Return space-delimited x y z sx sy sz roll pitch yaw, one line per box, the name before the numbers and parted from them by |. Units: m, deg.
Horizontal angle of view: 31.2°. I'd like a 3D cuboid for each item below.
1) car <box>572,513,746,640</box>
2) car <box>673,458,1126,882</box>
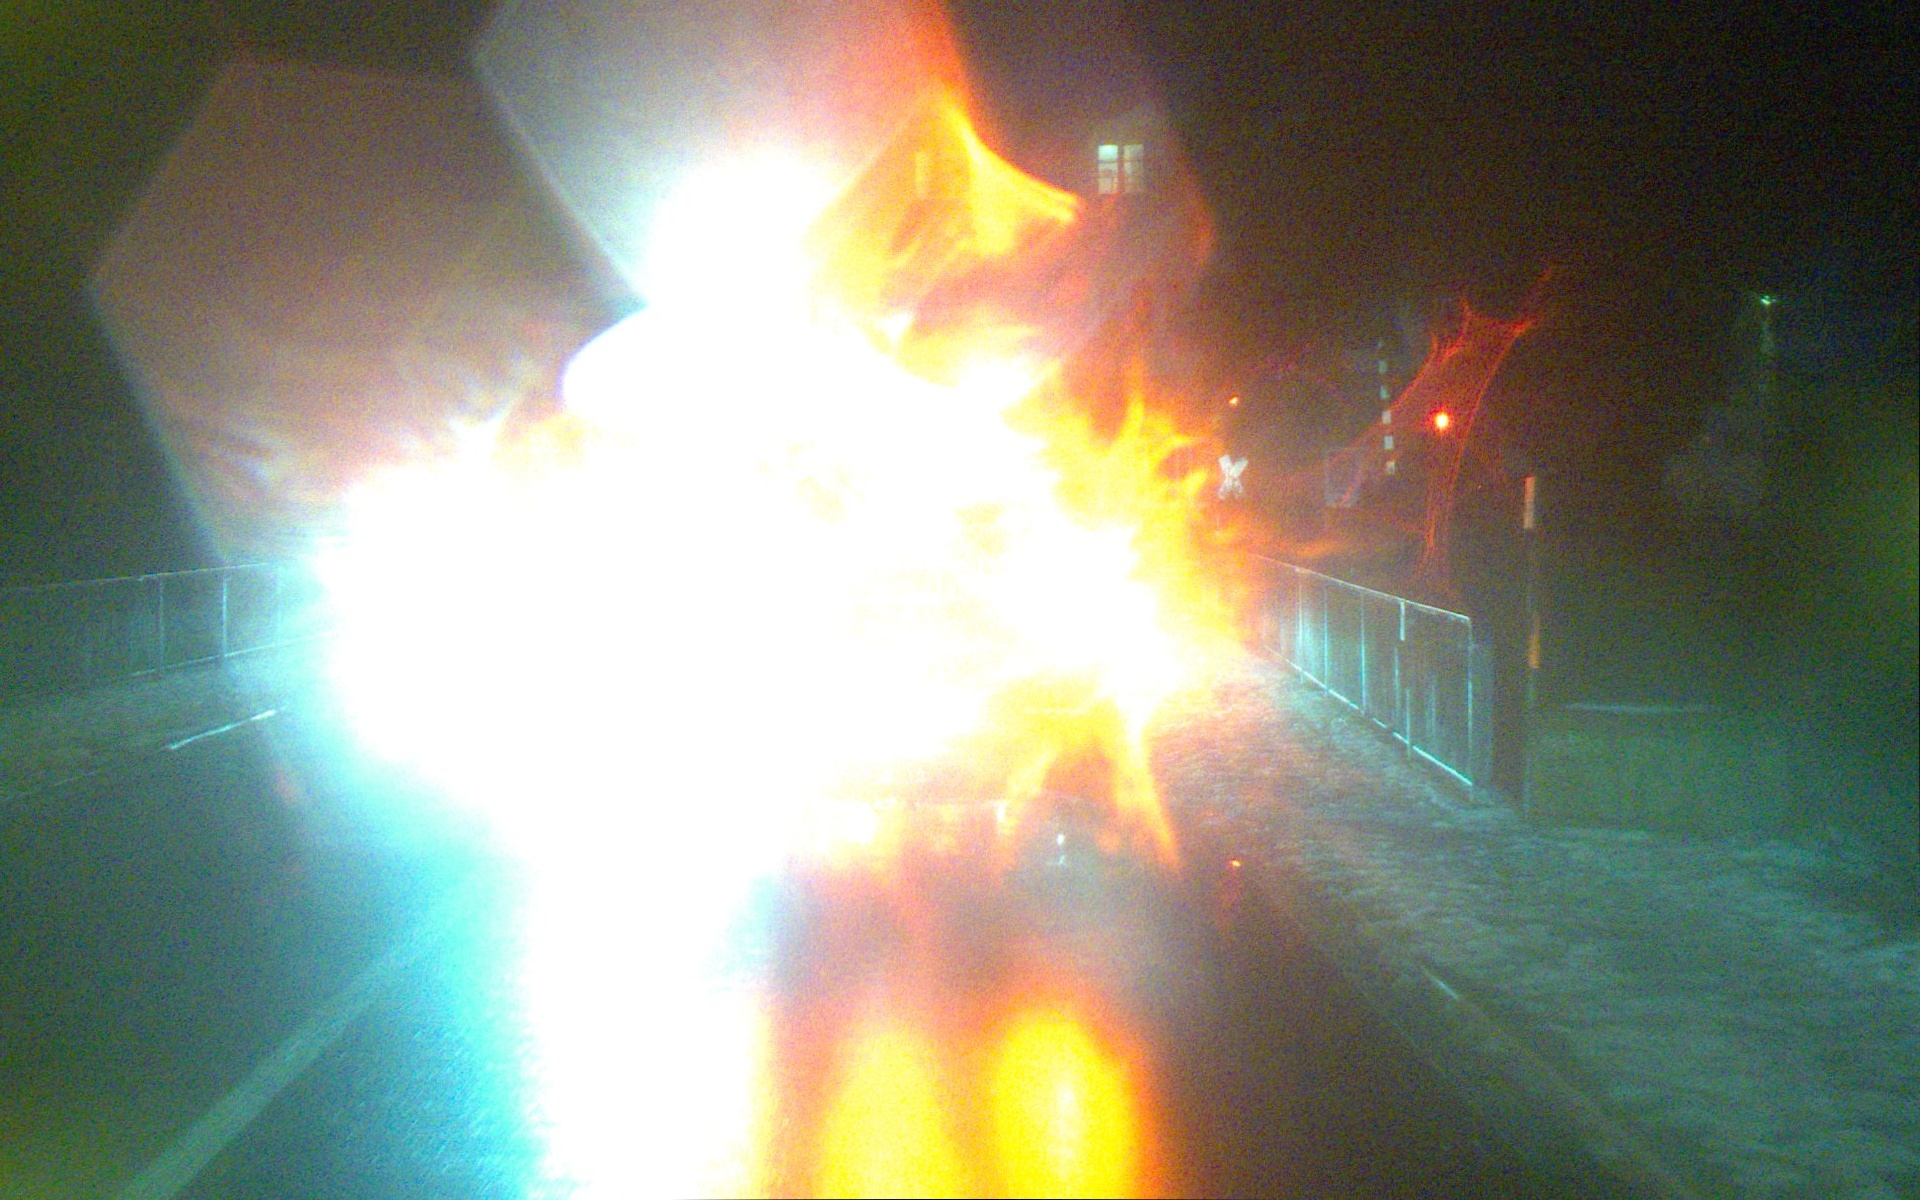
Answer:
car | -4.088 -0.338 47.370 1.874 1.540 4.355 -4 1 1
car | -0.208 0.215 15.969 1.791 1.675 3.905 -2 2 1
